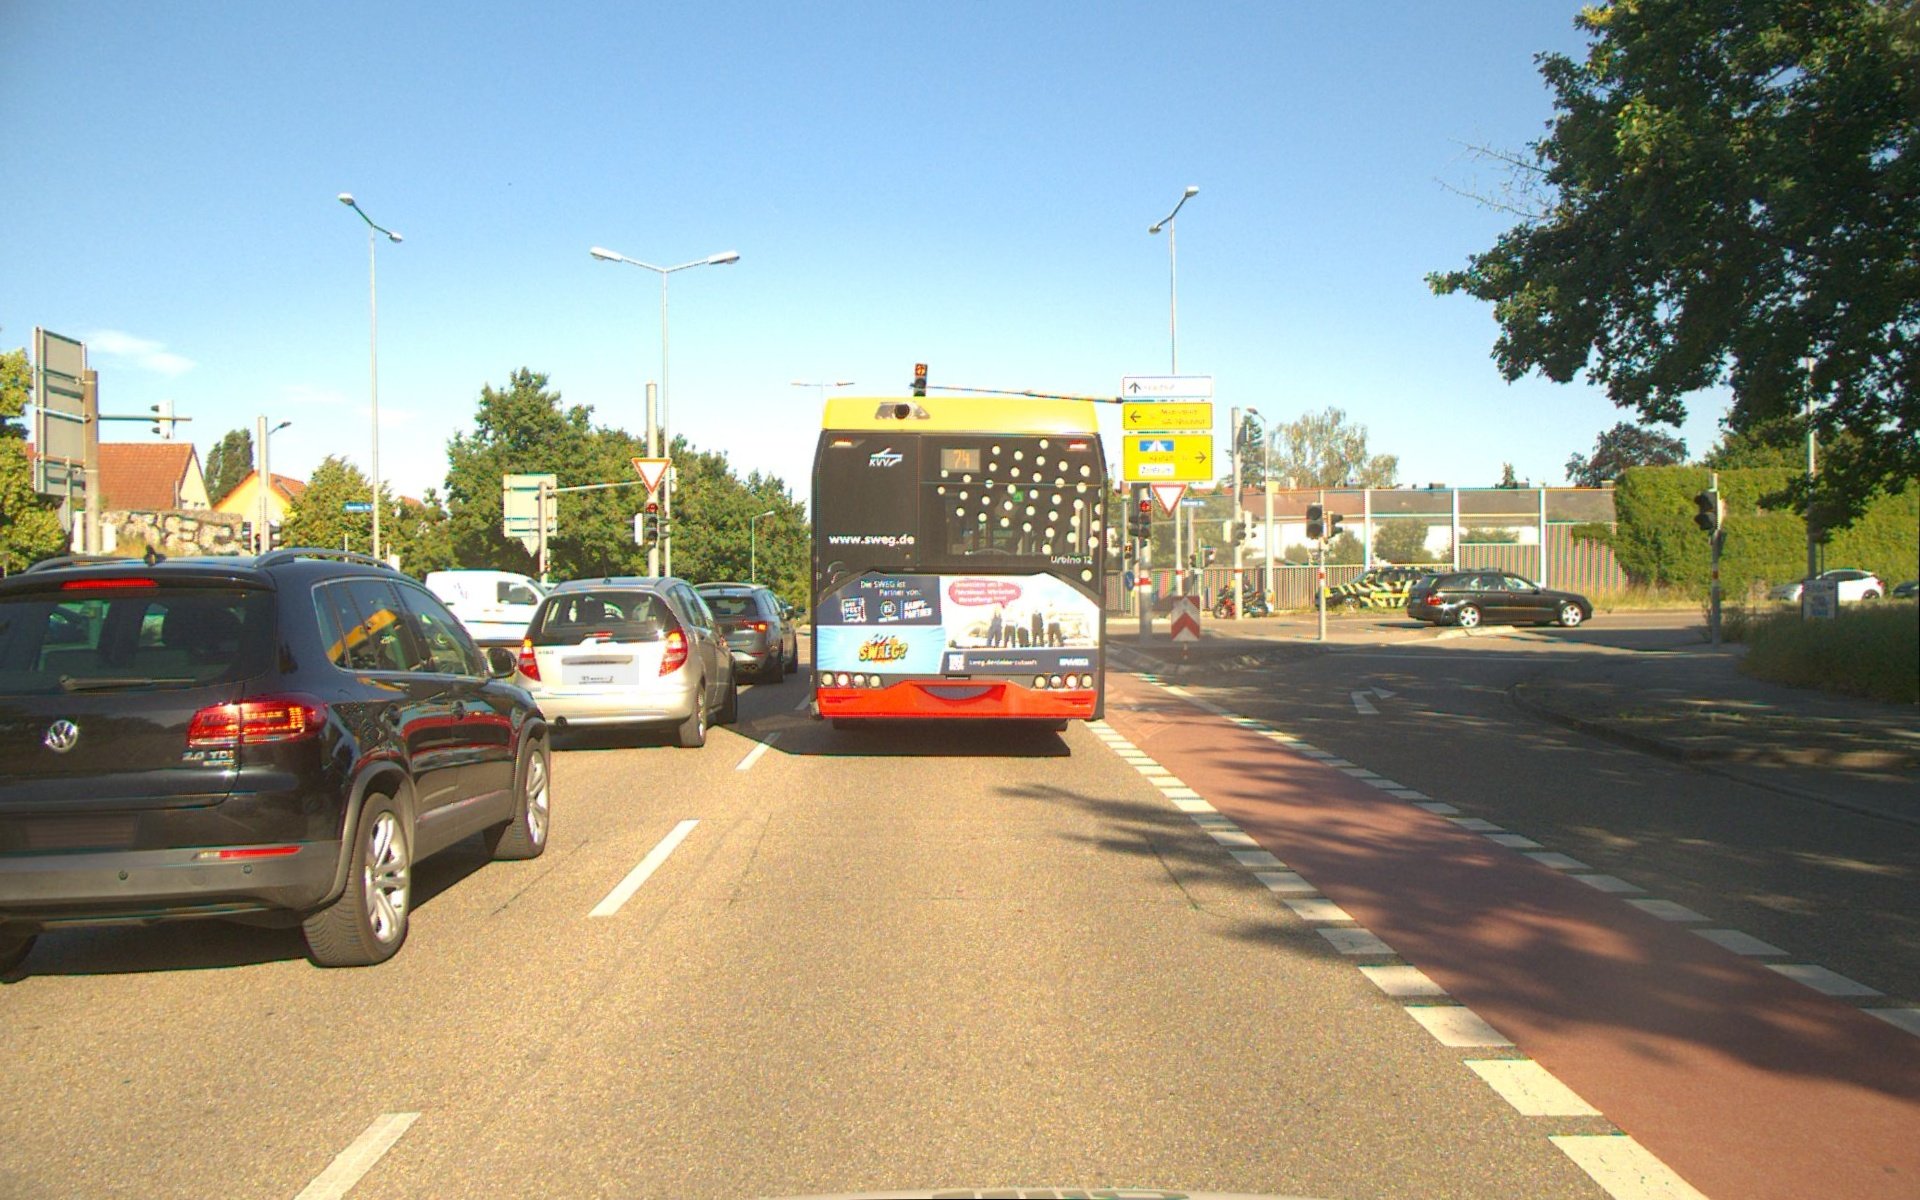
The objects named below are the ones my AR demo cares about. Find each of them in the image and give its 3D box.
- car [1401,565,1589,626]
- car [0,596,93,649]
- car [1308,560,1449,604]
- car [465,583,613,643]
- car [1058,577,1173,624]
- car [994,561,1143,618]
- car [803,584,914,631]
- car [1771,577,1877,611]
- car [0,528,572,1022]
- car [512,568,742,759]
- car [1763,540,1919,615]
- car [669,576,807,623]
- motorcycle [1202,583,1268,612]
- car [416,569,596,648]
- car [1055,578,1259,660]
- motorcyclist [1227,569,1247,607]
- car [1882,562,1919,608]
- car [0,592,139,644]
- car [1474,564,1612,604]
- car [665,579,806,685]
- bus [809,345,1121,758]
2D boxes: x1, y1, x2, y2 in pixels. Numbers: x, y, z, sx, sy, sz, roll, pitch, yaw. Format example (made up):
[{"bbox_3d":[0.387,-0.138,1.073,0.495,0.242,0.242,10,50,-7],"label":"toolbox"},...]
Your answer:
[{"bbox_3d":[14.006,-0.128,43.406,4.374,1.466,1.681,-1,1,-4],"label":"car"},{"bbox_3d":[-26.055,0.595,45.222,3.775,1.409,1.679,1,-1,-9],"label":"car"},{"bbox_3d":[13.282,-0.574,52.577,4.077,1.325,1.573,1,-1,-4],"label":"car"},{"bbox_3d":[-11.174,0.345,44.064,3.600,1.511,1.591,-1,0,-7],"label":"car"},{"bbox_3d":[5.612,0.009,60.027,3.910,1.640,1.693,-1,0,-6],"label":"car"},{"bbox_3d":[3.132,-0.291,48.185,4.139,1.590,1.761,1,-1,-5],"label":"car"},{"bbox_3d":[-3.665,0.248,59.454,3.910,1.640,1.693,-1,0,-6],"label":"car"},{"bbox_3d":[33.819,-0.250,64.773,3.511,1.287,1.353,0,0,-3],"label":"car"},{"bbox_3d":[-3.190,0.639,7.829,1.784,1.703,4.002,-2,0,-1],"label":"car"},{"bbox_3d":[-3.246,0.529,16.842,1.719,1.648,4.031,-1,2,-3],"label":"car"},{"bbox_3d":[16.652,-0.385,30.657,3.355,1.318,1.448,1,-1,-26],"label":"car"},{"bbox_3d":[-7.202,-0.014,53.922,4.327,1.485,1.573,1,-1,-4],"label":"car"},{"bbox_3d":[9.307,-0.091,56.080,2.147,0.889,0.451,-2,0,-6],"label":"motorcycle"},{"bbox_3d":[-11.026,0.205,40.383,4.033,1.832,1.455,-1,0,-7],"label":"car"},{"bbox_3d":[3.456,0.317,29.007,3.447,1.325,1.576,-1,1,8],"label":"car"},{"bbox_3d":[9.398,-0.401,56.095,0.573,1.295,0.426,0,-1,-6],"label":"motorcyclist"},{"bbox_3d":[35.339,-0.509,59.156,3.911,1.580,1.693,1,-1,-8],"label":"car"},{"bbox_3d":[-28.142,0.541,50.980,4.610,1.567,1.998,0,0,-5],"label":"car"},{"bbox_3d":[19.964,-0.553,56.732,4.204,1.325,1.573,0,0,-4],"label":"car"},{"bbox_3d":[-3.402,0.472,25.683,1.555,1.511,3.683,-1,0,2],"label":"car"},{"bbox_3d":[-0.029,-0.455,19.655,2.543,3.393,11.982,1,1,-1],"label":"bus"}]
